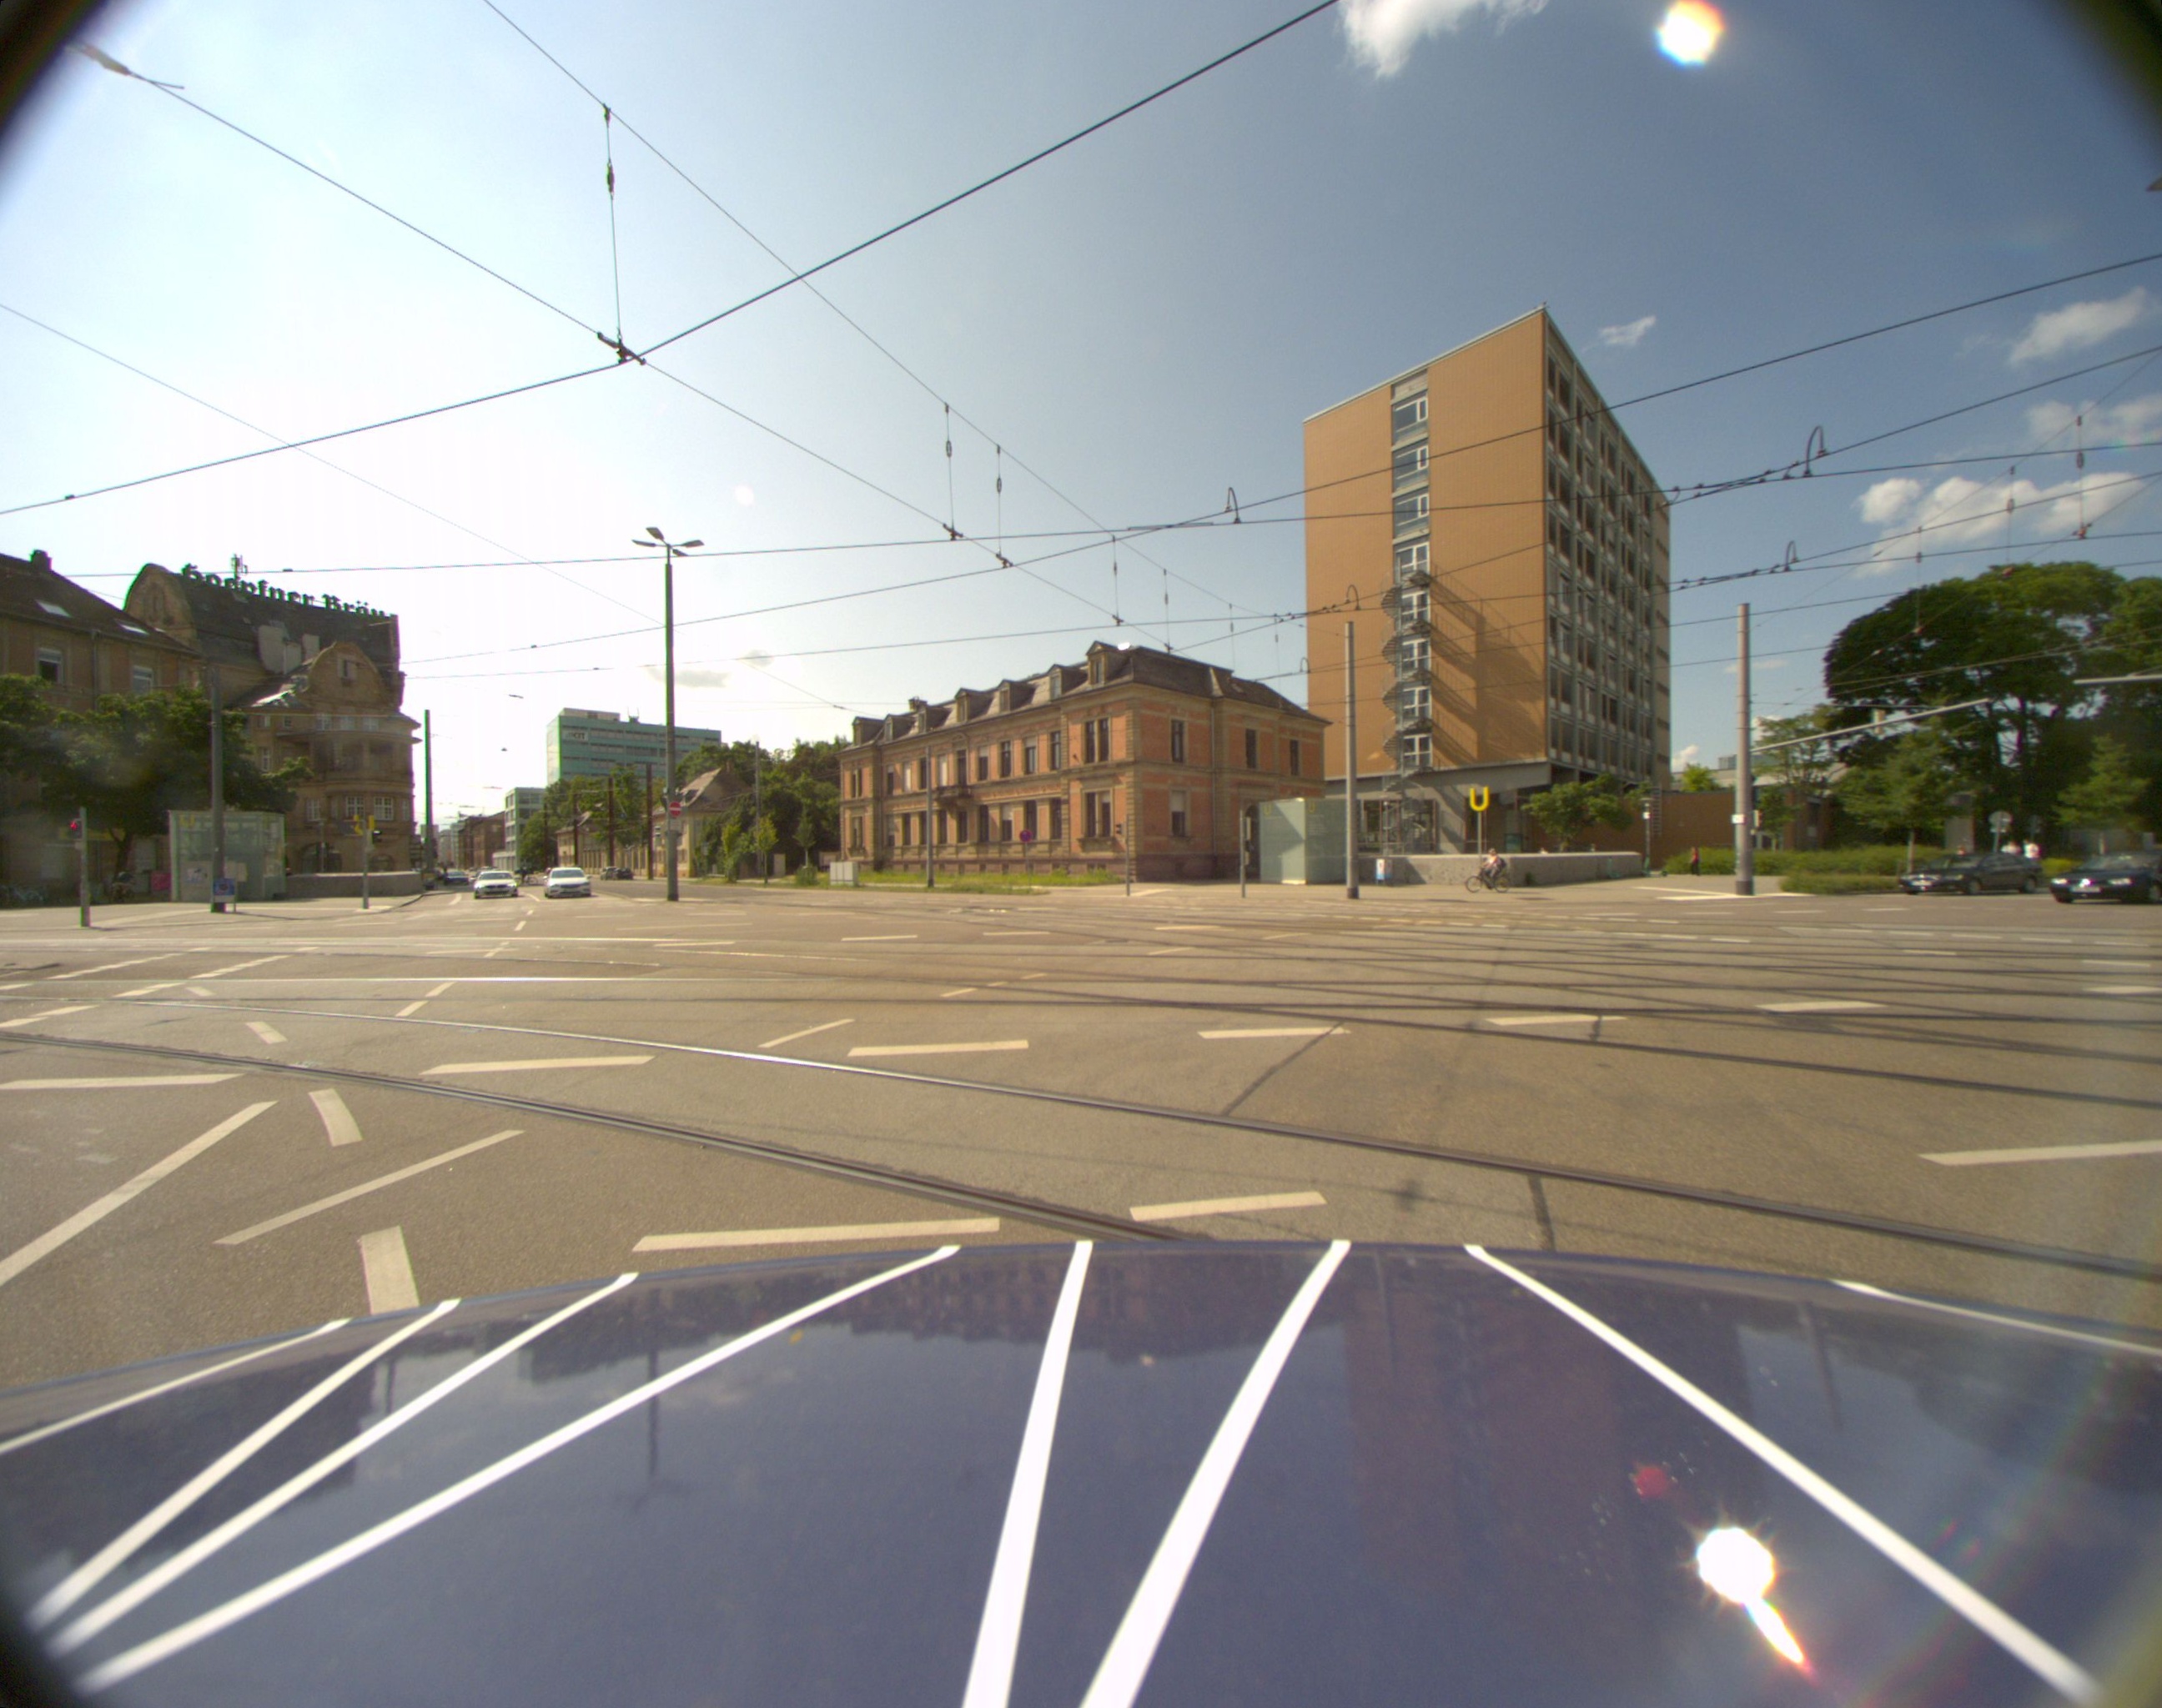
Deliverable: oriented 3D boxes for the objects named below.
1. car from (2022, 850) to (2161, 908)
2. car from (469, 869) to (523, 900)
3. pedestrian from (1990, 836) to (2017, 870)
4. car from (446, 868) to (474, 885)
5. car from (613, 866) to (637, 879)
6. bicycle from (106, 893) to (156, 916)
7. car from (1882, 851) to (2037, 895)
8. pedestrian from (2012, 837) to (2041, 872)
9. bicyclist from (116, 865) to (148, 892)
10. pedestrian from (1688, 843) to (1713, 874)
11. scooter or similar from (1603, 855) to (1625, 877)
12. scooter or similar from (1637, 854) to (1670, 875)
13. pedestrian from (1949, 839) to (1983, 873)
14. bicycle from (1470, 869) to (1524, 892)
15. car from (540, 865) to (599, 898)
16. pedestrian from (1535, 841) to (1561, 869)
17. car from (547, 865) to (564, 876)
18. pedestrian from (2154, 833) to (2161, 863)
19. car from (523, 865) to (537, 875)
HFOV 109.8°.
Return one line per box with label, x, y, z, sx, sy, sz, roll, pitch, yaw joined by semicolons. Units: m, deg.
car;28.511;0.639;20.762;4.001;1.454;1.825;-1;0;-11
car;-31.329;1.597;40.777;2.049;1.422;4.527;-3;1;-35
pedestrian;46.673;-0.055;38.444;0.890;1.691;0.614;-2;3;-23
car;-61.901;2.236;75.729;1.724;1.673;3.916;-1;0;-44
car;-53.351;2.154;88.849;2.004;1.368;3.989;-1;0;-36
bicycle;-43.616;2.300;34.889;1.956;0.964;0.851;0;1;20
car;31.200;0.658;27.039;4.001;1.454;1.825;-1;0;-11
pedestrian;46.966;-0.007;37.752;0.890;1.691;0.614;-2;3;-23
bicyclist;-43.467;1.121;34.806;0.922;1.213;0.638;0;2;20
pedestrian;34.170;0.241;41.912;0.617;1.614;0.887;-3;4;-35
scooter or similar;26.912;0.598;38.331;1.449;1.111;0.465;-1;2;-37
scooter or similar;29.891;0.545;39.698;1.315;1.098;0.467;1;2;27
pedestrian;43.722;0.087;37.545;0.889;1.614;0.615;-1;3;-4
bicycle;16.589;1.043;30.288;1.821;0.876;0.648;-1;1;-2
car;-25.267;1.312;37.666;1.994;1.475;3.991;-2;1;-28
pedestrian;26.970;0.056;43.854;1.096;1.614;0.615;-1;3;-6
car;-87.223;2.696;126.147;2.004;1.804;3.989;-1;0;-39
pedestrian;63.358;-0.326;44.281;0.890;1.737;0.743;-2;3;-23
car;-106.081;3.027;146.313;2.004;1.804;3.989;-1;0;-39
